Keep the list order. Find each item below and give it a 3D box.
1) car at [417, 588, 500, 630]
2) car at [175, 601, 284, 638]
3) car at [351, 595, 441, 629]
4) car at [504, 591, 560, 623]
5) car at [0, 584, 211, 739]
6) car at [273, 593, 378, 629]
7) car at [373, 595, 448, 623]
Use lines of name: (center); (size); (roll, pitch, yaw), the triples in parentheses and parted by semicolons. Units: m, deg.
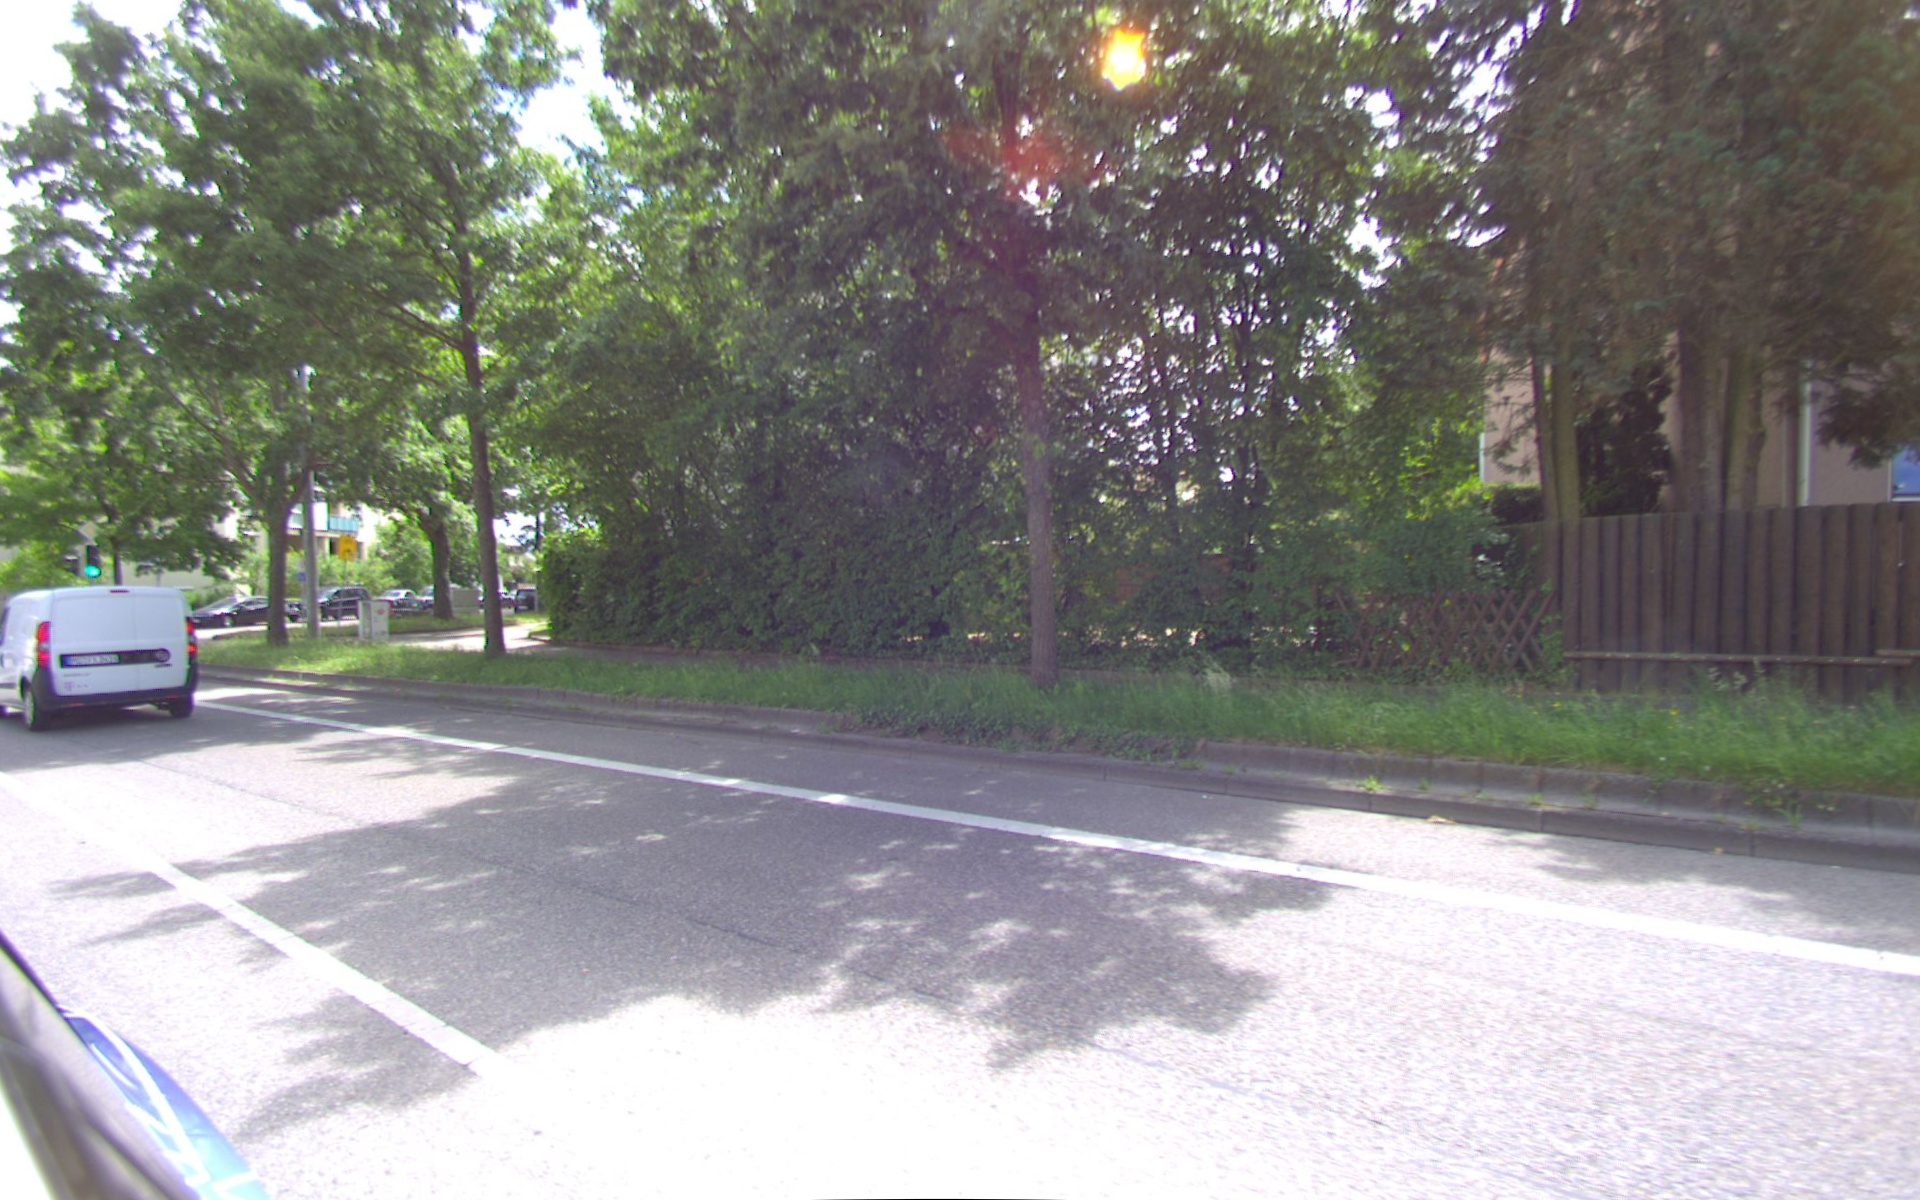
car: (-26.015, 0.421, 52.694); (1.825, 1.858, 3.989); (-1, 3, 9)
car: (-35.250, 0.895, 48.970); (1.719, 1.408, 4.139); (-1, 4, 11)
car: (-26.797, 0.552, 48.238); (1.677, 1.463, 3.990); (1, 1, 8)
car: (-26.433, 0.423, 62.686); (2.093, 1.807, 4.426); (-2, 1, -8)
car: (-12.652, 0.744, 14.413); (4.583, 1.889, 1.832); (0, 1, 35)
car: (-33.939, 0.568, 54.293); (2.080, 1.615, 4.776); (0, 3, 11)
car: (-33.656, 0.540, 62.096); (1.953, 1.342, 3.988); (-1, 4, 11)
